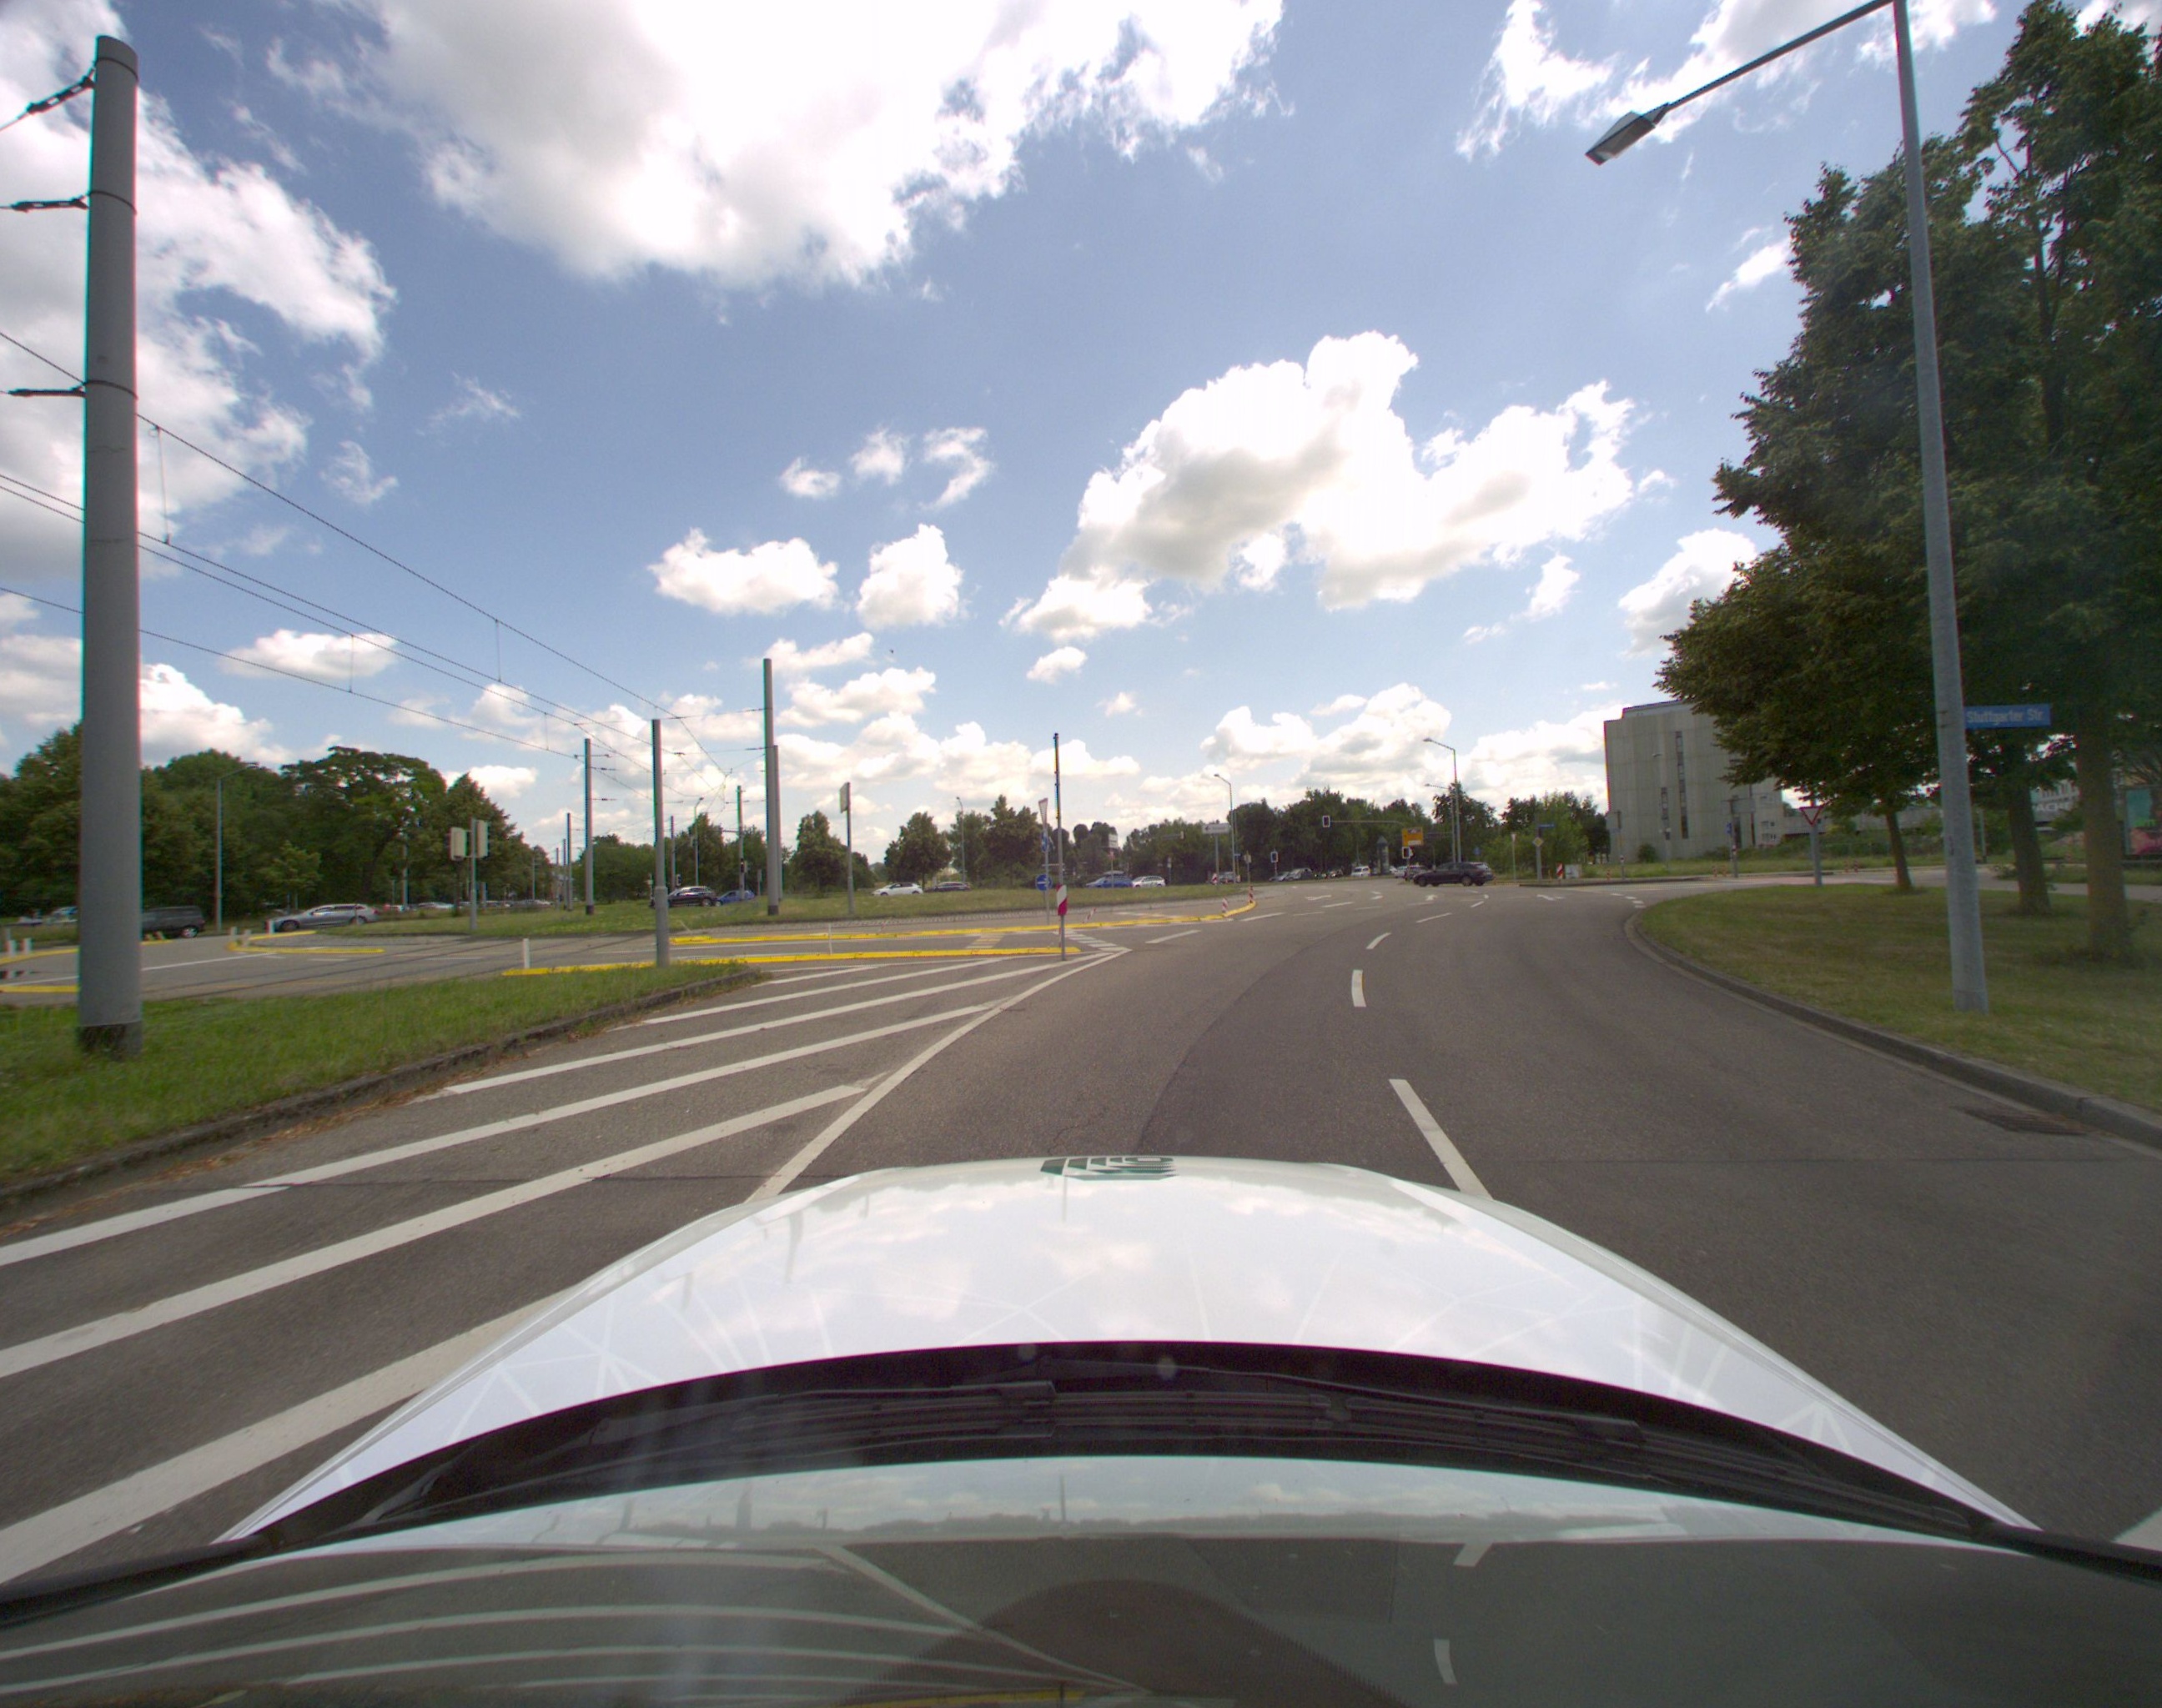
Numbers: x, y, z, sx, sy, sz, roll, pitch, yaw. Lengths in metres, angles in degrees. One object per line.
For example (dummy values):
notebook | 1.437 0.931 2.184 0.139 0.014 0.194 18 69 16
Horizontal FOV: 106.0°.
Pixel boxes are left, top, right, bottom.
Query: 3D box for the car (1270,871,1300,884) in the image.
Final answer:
car | 24.599 2.805 98.156 1.887 1.423 4.218 -3 -2 38

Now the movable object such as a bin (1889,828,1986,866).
movable object such as a bin | 89.981 -0.700 85.663 7.583 3.853 3.042 0 -2 -7

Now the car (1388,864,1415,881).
car | 39.176 2.301 99.512 1.974 2.014 4.025 -2 -2 38

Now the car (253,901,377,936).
car | -45.105 3.745 48.089 2.040 1.626 4.975 -1 0 31

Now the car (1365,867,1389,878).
car | 44.301 2.783 121.896 1.820 1.480 4.782 -6 -4 40

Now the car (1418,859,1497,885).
car | 22.602 1.103 48.983 1.697 1.463 3.954 0 -2 -39

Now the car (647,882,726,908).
car | -29.365 2.999 60.693 5.091 1.675 1.979 -1 -2 -34

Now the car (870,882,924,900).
car | -15.378 3.067 68.120 4.306 1.329 1.989 -2 -1 -16

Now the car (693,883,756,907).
car | -30.872 3.518 70.647 4.744 1.791 1.829 -1 -2 -34

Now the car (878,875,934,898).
car | -16.776 3.113 78.180 4.745 2.014 1.978 -1 -2 -35

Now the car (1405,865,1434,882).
car | 35.840 2.082 86.217 1.974 1.626 4.337 -3 -2 34

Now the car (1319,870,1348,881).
car | 34.304 2.891 110.727 1.820 1.311 4.817 -6 -4 42

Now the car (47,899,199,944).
car | -50.075 3.479 42.705 1.977 2.014 4.749 -3 -1 20

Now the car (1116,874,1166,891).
car | 5.891 2.820 80.279 4.524 1.522 2.102 -1 -1 -33

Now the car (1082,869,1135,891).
car | 2.452 2.328 73.340 4.409 1.798 1.744 -2 -1 -20

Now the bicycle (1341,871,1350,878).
bicycle | 44.432 3.425 136.765 0.753 1.219 2.029 -1 -1 40

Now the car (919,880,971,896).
car | -12.381 3.070 74.009 4.482 1.323 1.945 -2 -1 -14

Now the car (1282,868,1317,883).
car | 25.334 2.448 94.330 1.889 1.592 4.620 -4 -3 41

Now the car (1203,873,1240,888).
car | 15.169 2.825 87.871 4.001 1.340 1.781 -1 -3 -42

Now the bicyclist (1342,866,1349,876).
bicyclist | 44.505 2.828 136.875 0.822 1.565 0.889 -1 -1 40

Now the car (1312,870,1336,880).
car | 34.258 2.952 114.614 1.600 1.348 4.196 -6 -4 41

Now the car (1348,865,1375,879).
car | 40.334 2.569 117.130 1.820 1.799 4.817 -6 -4 41

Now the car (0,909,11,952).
car | -52.845 3.668 37.011 1.976 2.014 4.751 -3 -1 23
